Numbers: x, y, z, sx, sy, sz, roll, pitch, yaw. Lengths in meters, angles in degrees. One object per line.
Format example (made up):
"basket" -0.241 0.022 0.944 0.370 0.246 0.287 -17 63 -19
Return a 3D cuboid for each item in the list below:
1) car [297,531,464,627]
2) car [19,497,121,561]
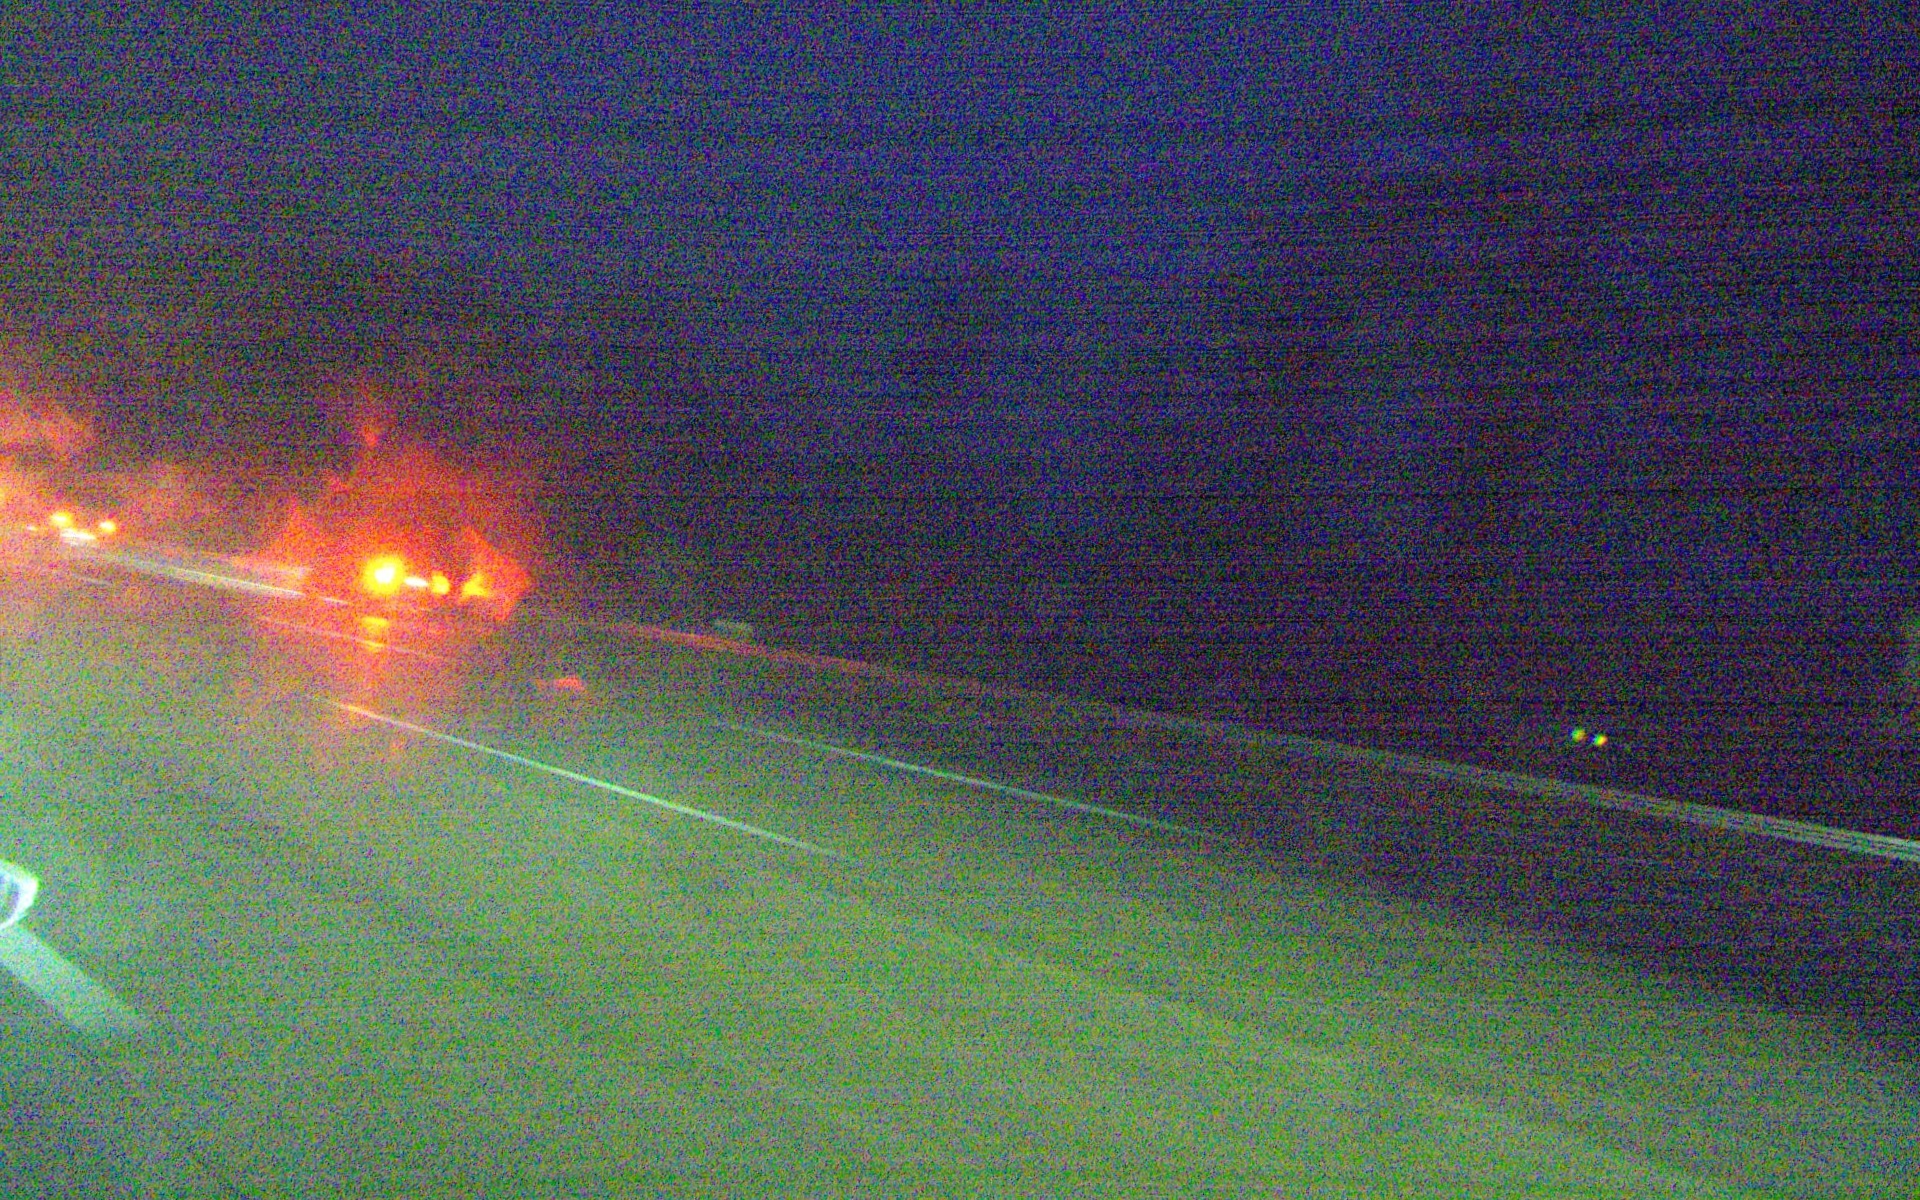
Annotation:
"car" -16.775 -0.647 29.025 5.366 2.036 2.065 7 -2 37
"car" -36.461 -2.922 41.198 3.939 2.036 2.235 7 -2 37
